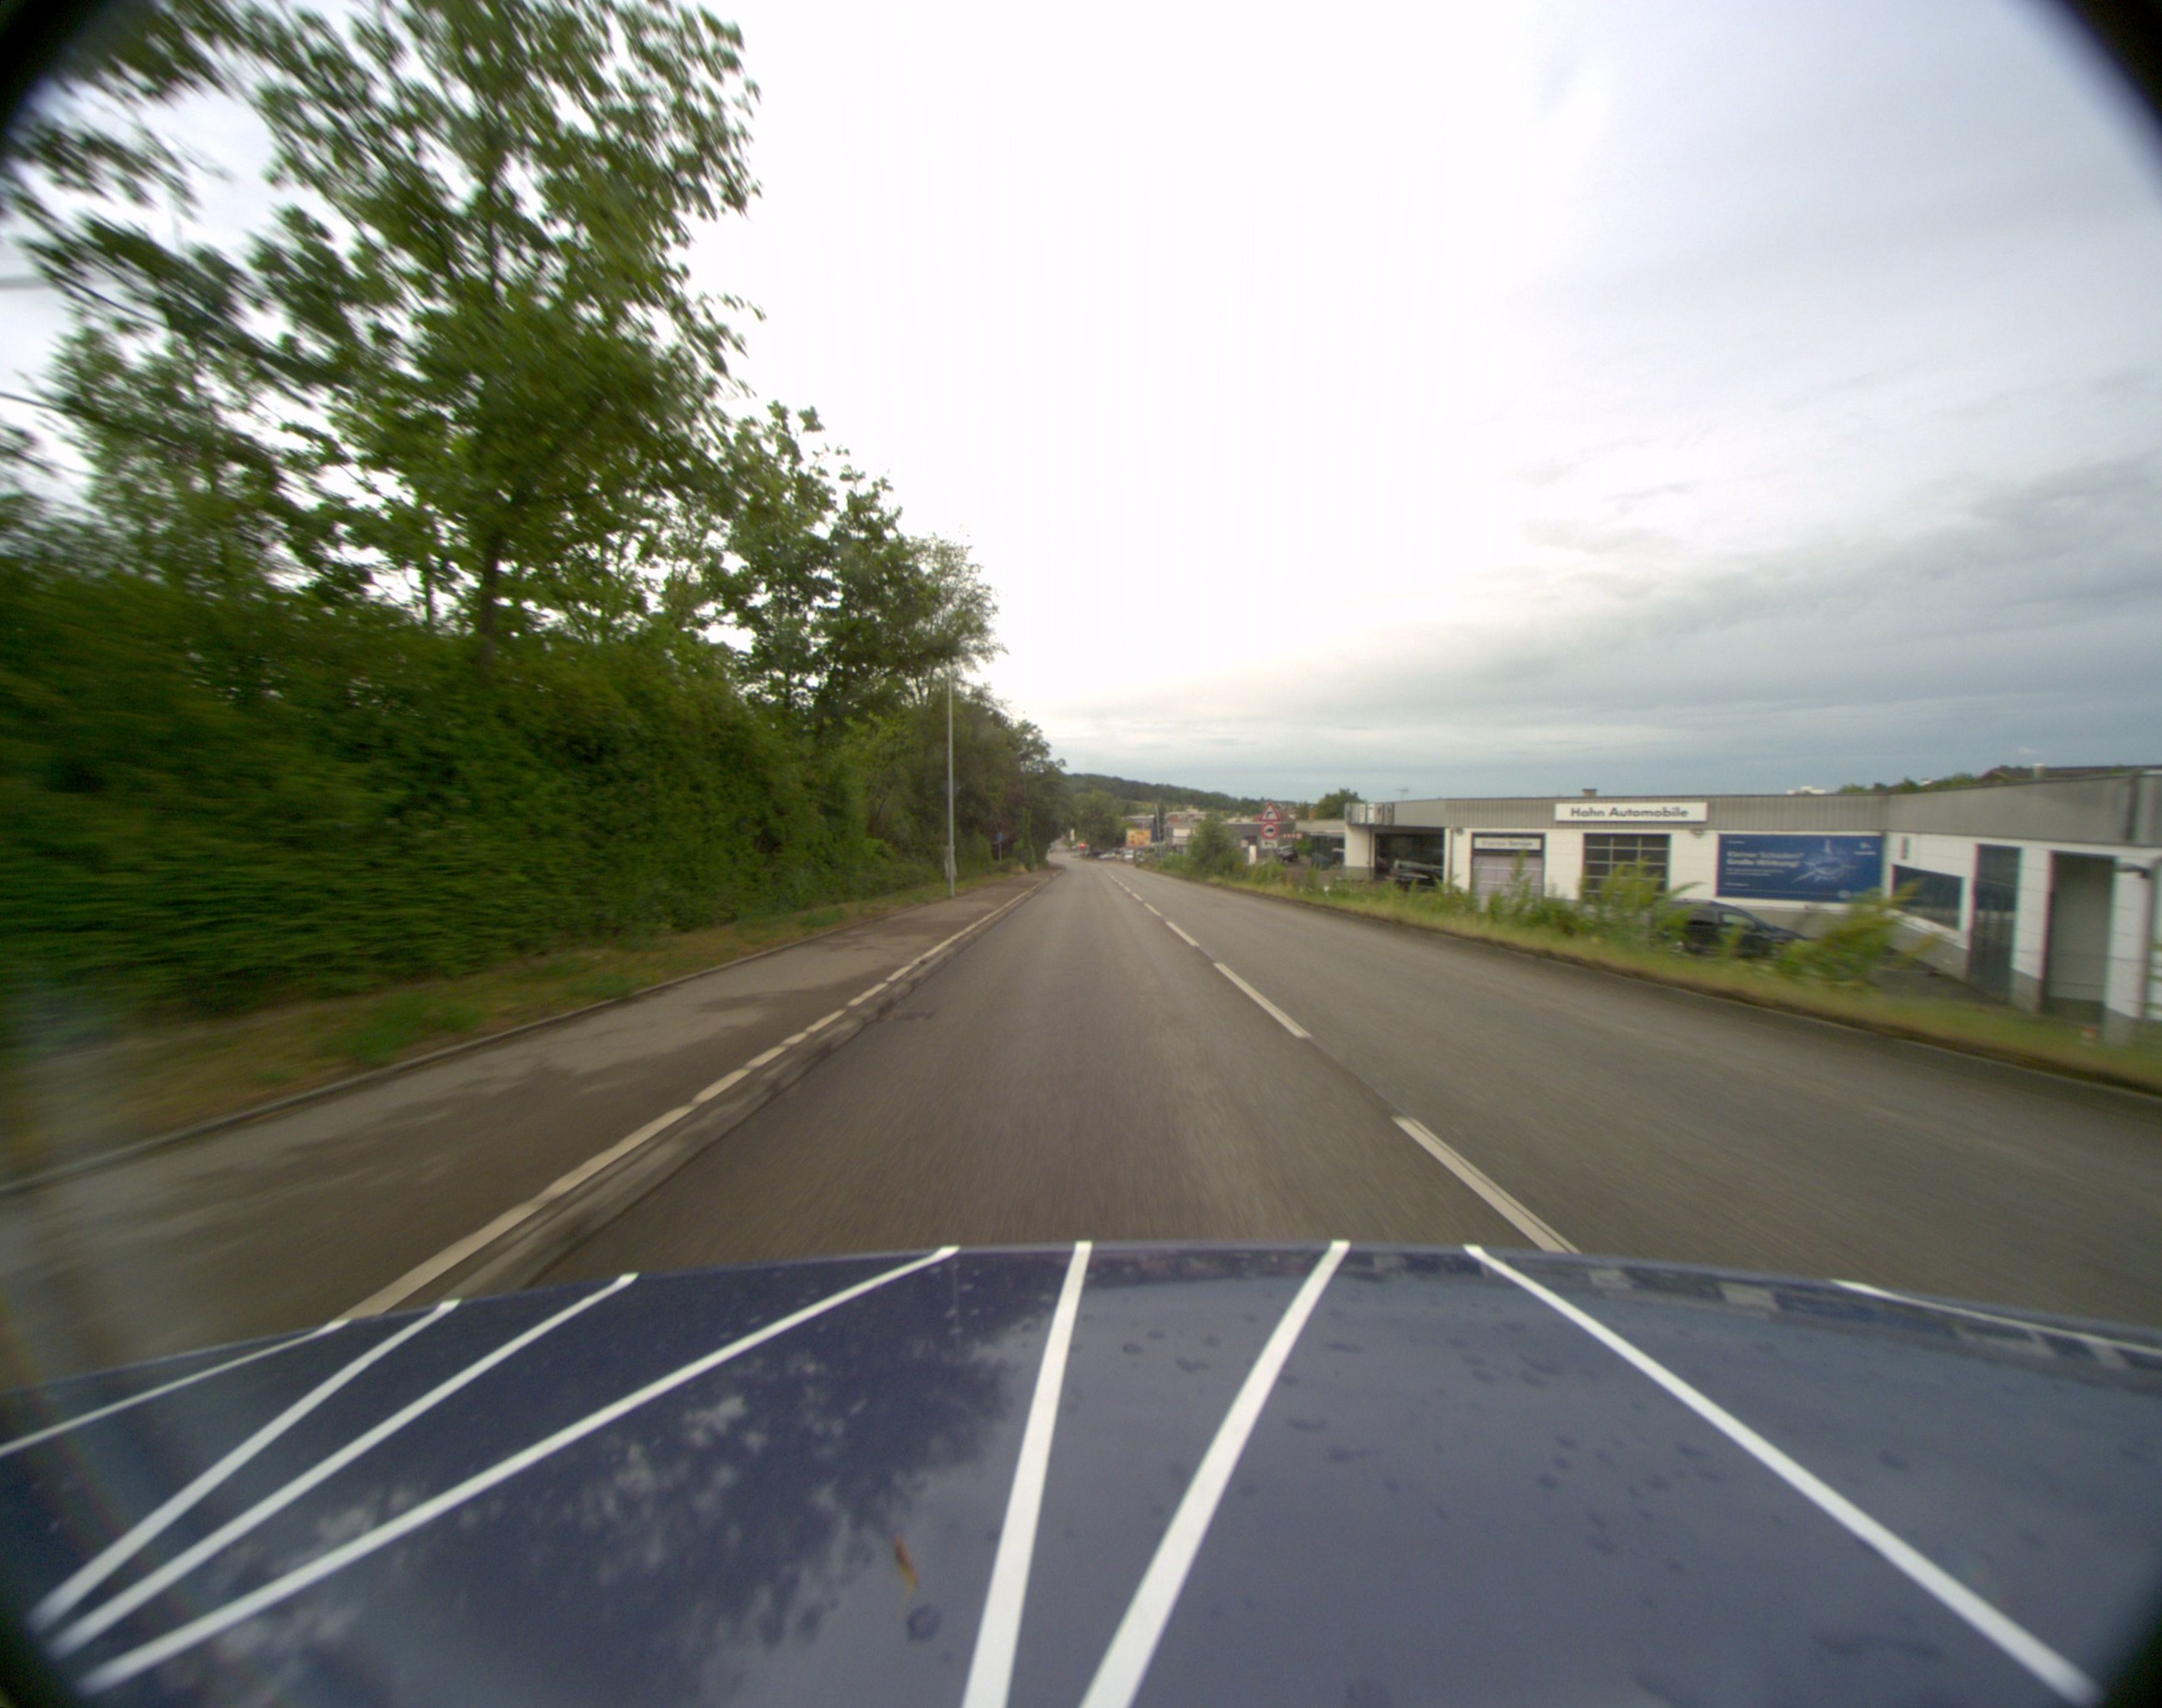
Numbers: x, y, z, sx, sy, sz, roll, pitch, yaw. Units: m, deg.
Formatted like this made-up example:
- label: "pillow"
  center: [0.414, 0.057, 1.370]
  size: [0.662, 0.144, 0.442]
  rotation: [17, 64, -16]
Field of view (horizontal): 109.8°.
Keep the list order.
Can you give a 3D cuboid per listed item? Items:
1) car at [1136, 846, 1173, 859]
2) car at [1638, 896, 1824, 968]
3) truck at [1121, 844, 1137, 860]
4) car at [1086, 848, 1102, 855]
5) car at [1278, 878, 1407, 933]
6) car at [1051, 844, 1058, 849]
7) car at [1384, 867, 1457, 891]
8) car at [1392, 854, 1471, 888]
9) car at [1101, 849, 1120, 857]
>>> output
- label: "car"
  center: [10.740, -0.283, 110.541]
  size: [5.084, 1.860, 1.821]
  rotation: [0, 1, -9]
- label: "car"
  center: [22.135, 2.584, 26.156]
  size: [4.625, 1.793, 1.872]
  rotation: [5, 1, 37]
- label: "truck"
  center: [8.558, -0.389, 136.678]
  size: [1.999, 2.618, 7.888]
  rotation: [1, 1, -3]
- label: "car"
  center: [3.042, -0.572, 184.795]
  size: [3.768, 1.559, 1.671]
  rotation: [0, 2, -3]
- label: "car"
  center: [10.866, 2.129, 31.771]
  size: [4.639, 1.793, 1.867]
  rotation: [5, 1, -3]
- label: "car"
  center: [-7.895, -2.256, 224.315]
  size: [1.770, 1.460, 3.997]
  rotation: [0, 2, -5]
- label: "car"
  center: [21.716, 1.556, 48.635]
  size: [4.010, 1.408, 1.957]
  rotation: [0, 1, 34]
- label: "car"
  center: [23.633, 1.099, 51.241]
  size: [4.471, 1.949, 1.992]
  rotation: [3, 3, 35]
- label: "car"
  center: [6.571, -0.275, 167.969]
  size: [4.015, 1.561, 1.716]
  rotation: [-3, 3, -39]
